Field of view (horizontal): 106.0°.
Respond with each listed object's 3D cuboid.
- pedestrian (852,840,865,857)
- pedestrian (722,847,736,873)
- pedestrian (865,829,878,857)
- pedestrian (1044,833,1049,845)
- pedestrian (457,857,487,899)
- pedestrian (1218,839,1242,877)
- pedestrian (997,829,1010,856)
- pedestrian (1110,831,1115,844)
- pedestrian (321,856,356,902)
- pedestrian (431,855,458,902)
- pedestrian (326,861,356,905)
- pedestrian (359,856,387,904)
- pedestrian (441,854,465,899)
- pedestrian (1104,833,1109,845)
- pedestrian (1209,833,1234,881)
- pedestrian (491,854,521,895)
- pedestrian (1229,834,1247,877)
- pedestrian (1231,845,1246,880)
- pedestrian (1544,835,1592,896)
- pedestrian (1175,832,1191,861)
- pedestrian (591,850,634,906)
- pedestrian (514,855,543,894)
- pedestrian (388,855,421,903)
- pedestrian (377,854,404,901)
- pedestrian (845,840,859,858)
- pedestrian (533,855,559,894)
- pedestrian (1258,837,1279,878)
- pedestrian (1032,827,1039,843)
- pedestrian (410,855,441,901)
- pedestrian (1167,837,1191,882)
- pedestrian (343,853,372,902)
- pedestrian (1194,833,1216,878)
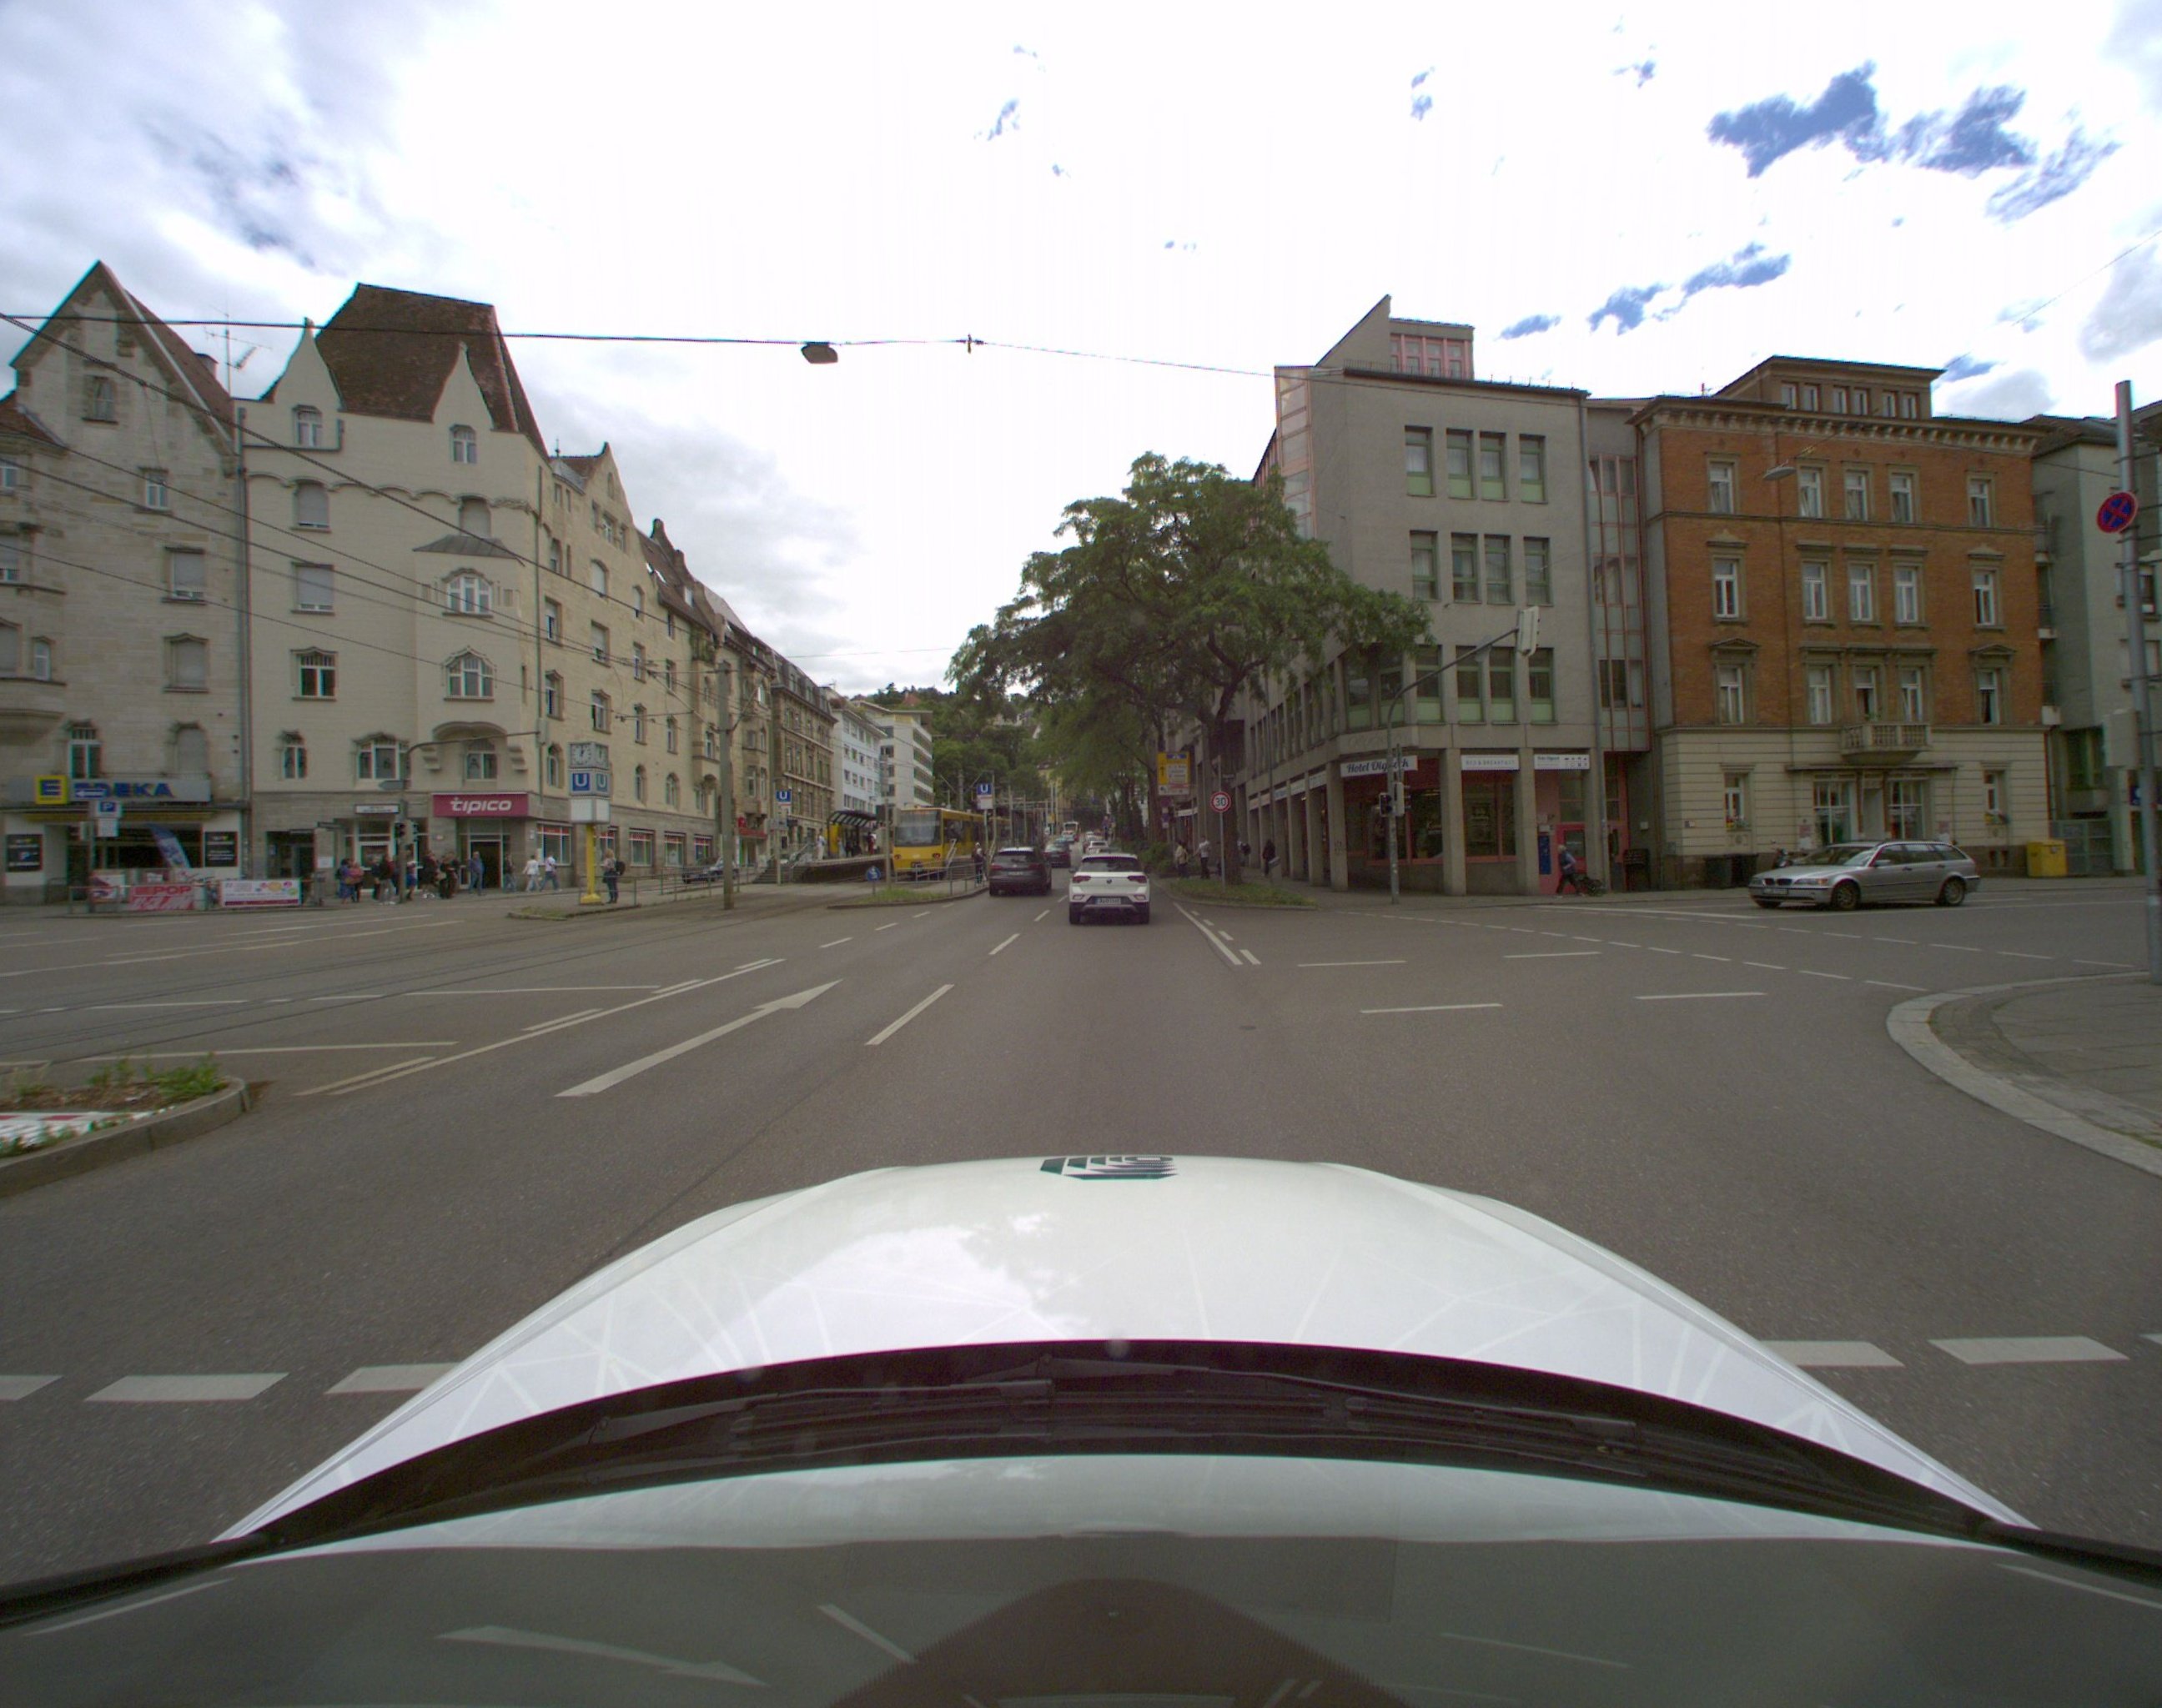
[{"bbox_3d":[-14.346,-0.359,52.496,0.633,1.107,0.690,-1,1,0],"label":"pedestrian"},{"bbox_3d":[-24.495,0.422,56.623,0.632,1.762,0.836,-1,0,-42],"label":"pedestrian"},{"bbox_3d":[-13.664,-0.726,53.122,0.624,1.762,0.847,-1,0,1],"label":"pedestrian"},{"bbox_3d":[-5.696,-2.414,132.777,0.759,2.014,0.838,0,0,0],"label":"pedestrian"},{"bbox_3d":[-24.525,0.960,32.795,0.668,1.677,0.694,-1,0,18],"label":"pedestrian"},{"bbox_3d":[6.197,0.156,33.953,0.834,1.563,0.763,0,0,-4],"label":"pedestrian"},{"bbox_3d":[-4.935,-0.734,51.710,0.715,1.731,0.671,0,0,1],"label":"pedestrian"},{"bbox_3d":[4.755,-2.503,123.500,0.758,2.014,0.839,0,0,5],"label":"pedestrian"},{"bbox_3d":[-29.283,0.993,32.127,0.571,1.780,0.822,-1,0,10],"label":"pedestrian"},{"bbox_3d":[-24.322,0.920,31.131,0.506,1.780,0.579,-1,0,14],"label":"pedestrian"},{"bbox_3d":[-26.692,1.039,29.375,0.573,1.582,0.512,-1,0,2],"label":"pedestrian"},{"bbox_3d":[-26.565,0.958,30.546,0.507,1.780,0.578,-1,0,7],"label":"pedestrian"},{"bbox_3d":[-25.097,0.901,32.553,0.505,1.780,0.580,-1,0,31],"label":"pedestrian"},{"bbox_3d":[4.112,-2.464,132.122,0.758,2.014,0.839,0,0,5],"label":"pedestrian"},{"bbox_3d":[5.602,0.108,32.480,0.720,1.802,0.833,-4,3,-4],"label":"pedestrian"},{"bbox_3d":[-24.602,0.876,34.863,0.778,1.705,0.654,-1,0,6],"label":"pedestrian"},{"bbox_3d":[6.583,0.046,34.163,0.517,1.789,0.763,0,0,-4],"label":"pedestrian"},{"bbox_3d":[6.098,0.335,31.575,0.470,1.333,0.519,0,0,-4],"label":"pedestrian"},{"bbox_3d":[14.070,0.332,23.524,1.111,1.712,0.861,-1,0,35],"label":"pedestrian"},{"bbox_3d":[6.694,-0.497,53.451,0.761,1.782,0.847,-3,3,-5],"label":"pedestrian"},{"bbox_3d":[-14.735,0.737,25.625,0.866,1.705,0.817,-1,0,29],"label":"pedestrian"},{"bbox_3d":[-24.640,0.927,36.334,0.778,1.705,0.724,-1,0,6],"label":"pedestrian"},{"bbox_3d":[-25.100,0.919,30.226,0.704,1.780,0.598,-1,0,16],"label":"pedestrian"},{"bbox_3d":[-26.485,0.901,31.228,0.508,1.780,0.577,-1,0,2],"label":"pedestrian"},{"bbox_3d":[-14.335,-0.315,51.034,0.633,1.107,0.690,-1,1,0],"label":"pedestrian"},{"bbox_3d":[-23.889,0.900,36.358,0.600,1.705,0.711,-1,0,6],"label":"pedestrian"},{"bbox_3d":[7.645,0.126,33.205,0.757,1.612,0.620,-2,3,11],"label":"pedestrian"},{"bbox_3d":[-5.627,-2.339,100.236,0.761,2.014,0.836,0,0,-7],"label":"pedestrian"},{"bbox_3d":[-25.903,0.934,32.181,0.780,1.780,0.672,-1,0,31],"label":"pedestrian"},{"bbox_3d":[4.057,0.219,33.730,0.692,1.777,0.688,-6,0,-4],"label":"pedestrian"},{"bbox_3d":[-26.559,0.860,29.916,0.572,1.780,0.512,-1,0,5],"label":"pedestrian"},{"bbox_3d":[5.181,0.060,33.940,0.732,1.874,0.732,-1,0,-4],"label":"pedestrian"}]
